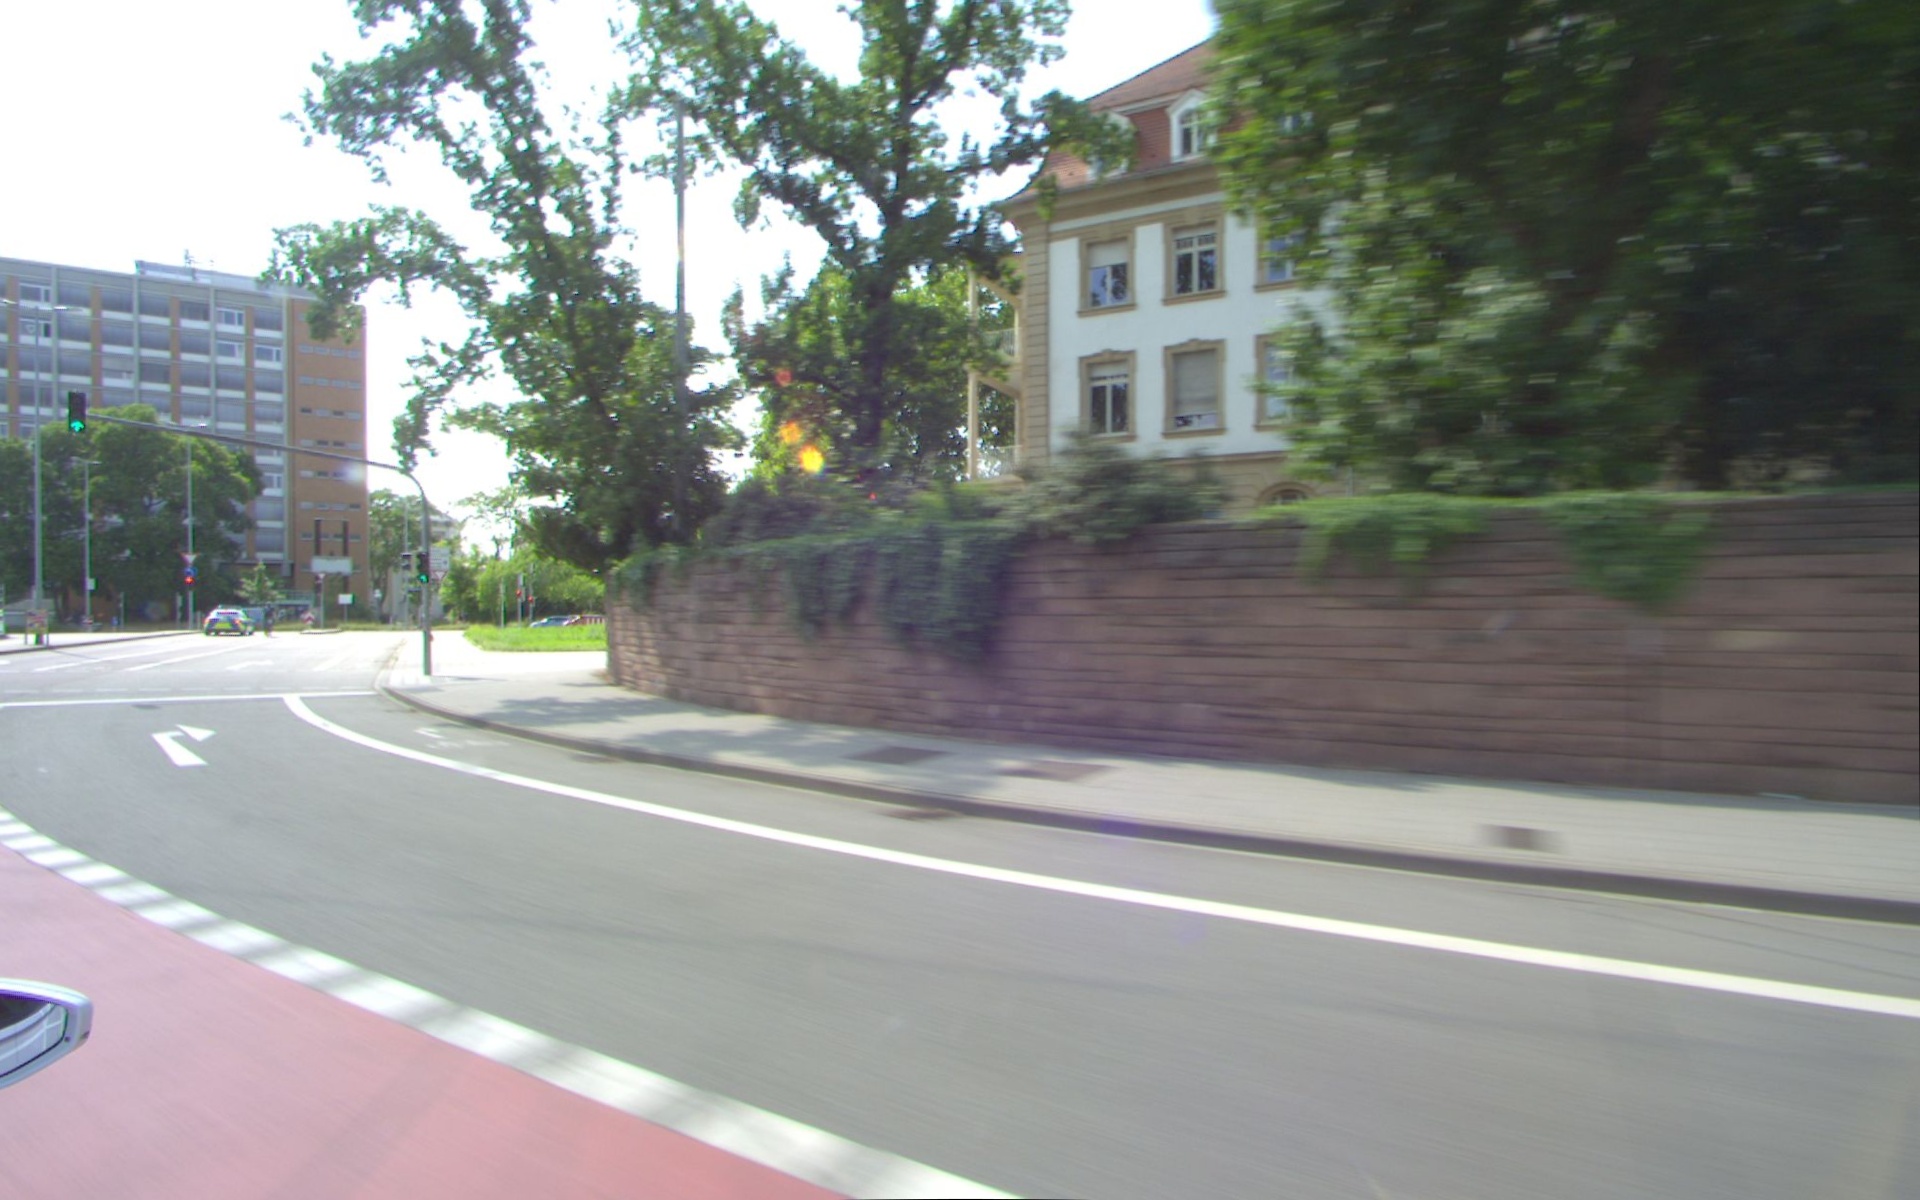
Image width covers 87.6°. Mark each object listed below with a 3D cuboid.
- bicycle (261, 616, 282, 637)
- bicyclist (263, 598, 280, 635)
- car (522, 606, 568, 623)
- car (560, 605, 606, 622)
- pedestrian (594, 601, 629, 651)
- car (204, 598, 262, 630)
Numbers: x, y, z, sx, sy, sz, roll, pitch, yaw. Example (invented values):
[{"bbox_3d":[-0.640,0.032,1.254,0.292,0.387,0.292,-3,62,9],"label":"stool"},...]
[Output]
[{"bbox_3d":[-38.600,1.462,56.143,0.712,1.098,2.179,0,1,-28],"label":"bicycle"},{"bbox_3d":[-38.664,0.918,56.252,0.710,2.000,0.835,0,1,-29],"label":"bicyclist"},{"bbox_3d":[-37.185,1.266,89.738,3.669,1.475,1.623,0,0,-16],"label":"car"},{"bbox_3d":[-33.264,1.228,88.456,3.669,1.475,1.623,0,0,-16],"label":"car"},{"bbox_3d":[-11.955,0.890,34.379,0.736,1.660,0.885,-2,-1,18],"label":"pedestrian"},{"bbox_3d":[-41.274,0.812,56.926,2.106,1.705,4.082,2,-1,-28],"label":"car"}]
